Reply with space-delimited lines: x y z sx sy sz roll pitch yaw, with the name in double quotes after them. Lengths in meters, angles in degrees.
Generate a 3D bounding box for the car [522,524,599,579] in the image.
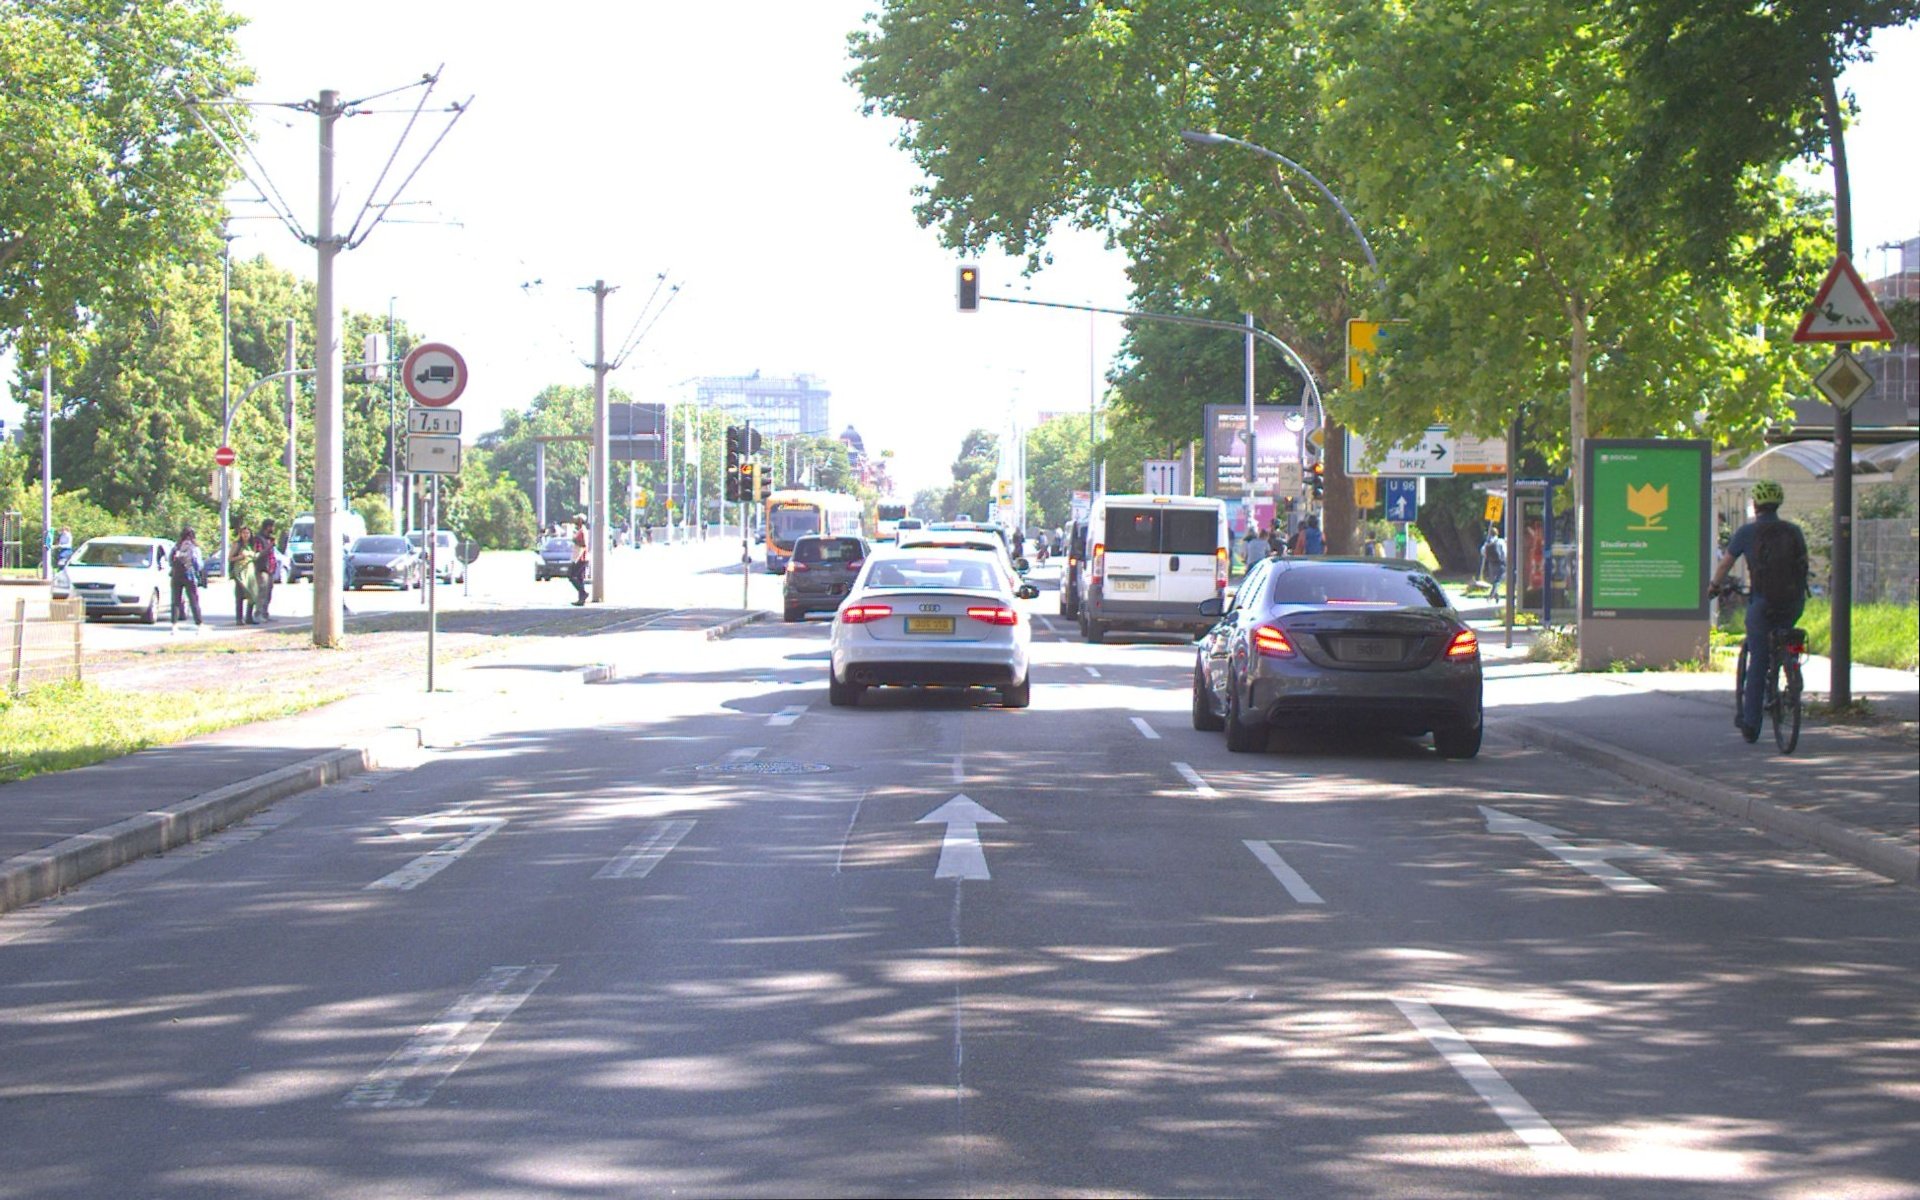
-13.178 -1.613 113.624 1.993 1.728 4.000 1 1 1 "car"

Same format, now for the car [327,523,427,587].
-15.275 -1.198 90.208 1.871 1.603 4.000 1 1 1 "car"

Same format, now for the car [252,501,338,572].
-22.751 -2.182 117.760 2.114 2.374 4.000 1 1 1 "car"

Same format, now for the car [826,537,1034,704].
-0.245 0.144 31.703 1.784 1.416 3.885 1 1 0 "car"

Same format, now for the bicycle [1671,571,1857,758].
5.461 0.413 23.473 0.714 1.144 2.178 -2 2 -1 "bicycle"

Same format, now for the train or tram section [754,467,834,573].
-6.491 -3.146 135.640 2.617 4.001 7.749 1 1 1 "train or tram section"

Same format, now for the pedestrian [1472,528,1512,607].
12.132 -0.736 78.380 0.778 1.782 0.763 1 1 19 "pedestrian"

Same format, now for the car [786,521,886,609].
-2.380 -0.697 66.802 1.729 1.625 4.000 1 1 0 "car"

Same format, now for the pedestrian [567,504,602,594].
-8.068 -1.095 73.903 0.624 1.911 0.690 1 1 1 "pedestrian"

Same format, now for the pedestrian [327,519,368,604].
-11.527 -0.725 64.696 0.537 1.592 0.577 1 1 20 "pedestrian"

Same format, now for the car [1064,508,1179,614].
3.153 -0.780 67.861 2.072 1.992 4.058 1 1 0 "car"

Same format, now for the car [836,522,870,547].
-6.919 -4.255 223.470 1.871 1.603 4.000 1 1 3 "car"

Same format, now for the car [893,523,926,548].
-3.301 -4.176 223.250 1.871 1.603 4.000 1 1 3 "car"

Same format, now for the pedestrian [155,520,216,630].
-11.577 -0.375 51.389 0.757 1.617 0.595 0 1 -25 "pedestrian"

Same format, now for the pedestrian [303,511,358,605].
-11.710 -0.779 63.991 0.775 1.728 0.754 1 1 9 "pedestrian"

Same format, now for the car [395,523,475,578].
-15.829 -1.505 103.744 1.764 1.603 3.860 1 1 1 "car"

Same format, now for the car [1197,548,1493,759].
2.800 0.343 25.773 1.782 1.415 4.000 1 1 0 "car"

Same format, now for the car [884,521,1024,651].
-0.058 -0.213 45.129 1.729 1.599 3.885 1 1 0 "car"

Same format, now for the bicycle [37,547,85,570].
-28.596 -1.313 109.374 0.492 0.728 1.619 1 1 29 "bicycle"

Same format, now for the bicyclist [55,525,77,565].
-28.486 -1.752 109.553 0.474 1.287 0.496 1 1 29 "bicyclist"

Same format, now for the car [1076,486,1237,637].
2.979 -0.607 52.939 2.230 2.204 4.162 1 1 0 "car"

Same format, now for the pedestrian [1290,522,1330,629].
6.373 -0.454 62.647 0.635 1.939 0.719 1 1 1 "pedestrian"

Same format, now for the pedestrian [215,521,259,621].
-11.963 -0.481 56.888 0.593 1.641 0.554 1 1 1 "pedestrian"

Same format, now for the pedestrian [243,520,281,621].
-11.759 -0.501 57.929 0.492 1.673 0.643 1 1 1 "pedestrian"

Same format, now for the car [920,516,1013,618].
0.139 -0.665 66.862 1.729 1.895 4.000 1 1 0 "car"

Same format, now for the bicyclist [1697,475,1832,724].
5.474 -0.014 23.438 0.634 1.642 0.979 -2 1 0 "bicyclist"

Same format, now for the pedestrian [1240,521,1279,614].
5.571 -0.607 64.003 0.602 1.689 0.953 -2 1 1 "pedestrian"

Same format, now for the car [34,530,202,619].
-14.788 -0.469 60.594 1.796 1.483 4.385 1 1 1 "car"
